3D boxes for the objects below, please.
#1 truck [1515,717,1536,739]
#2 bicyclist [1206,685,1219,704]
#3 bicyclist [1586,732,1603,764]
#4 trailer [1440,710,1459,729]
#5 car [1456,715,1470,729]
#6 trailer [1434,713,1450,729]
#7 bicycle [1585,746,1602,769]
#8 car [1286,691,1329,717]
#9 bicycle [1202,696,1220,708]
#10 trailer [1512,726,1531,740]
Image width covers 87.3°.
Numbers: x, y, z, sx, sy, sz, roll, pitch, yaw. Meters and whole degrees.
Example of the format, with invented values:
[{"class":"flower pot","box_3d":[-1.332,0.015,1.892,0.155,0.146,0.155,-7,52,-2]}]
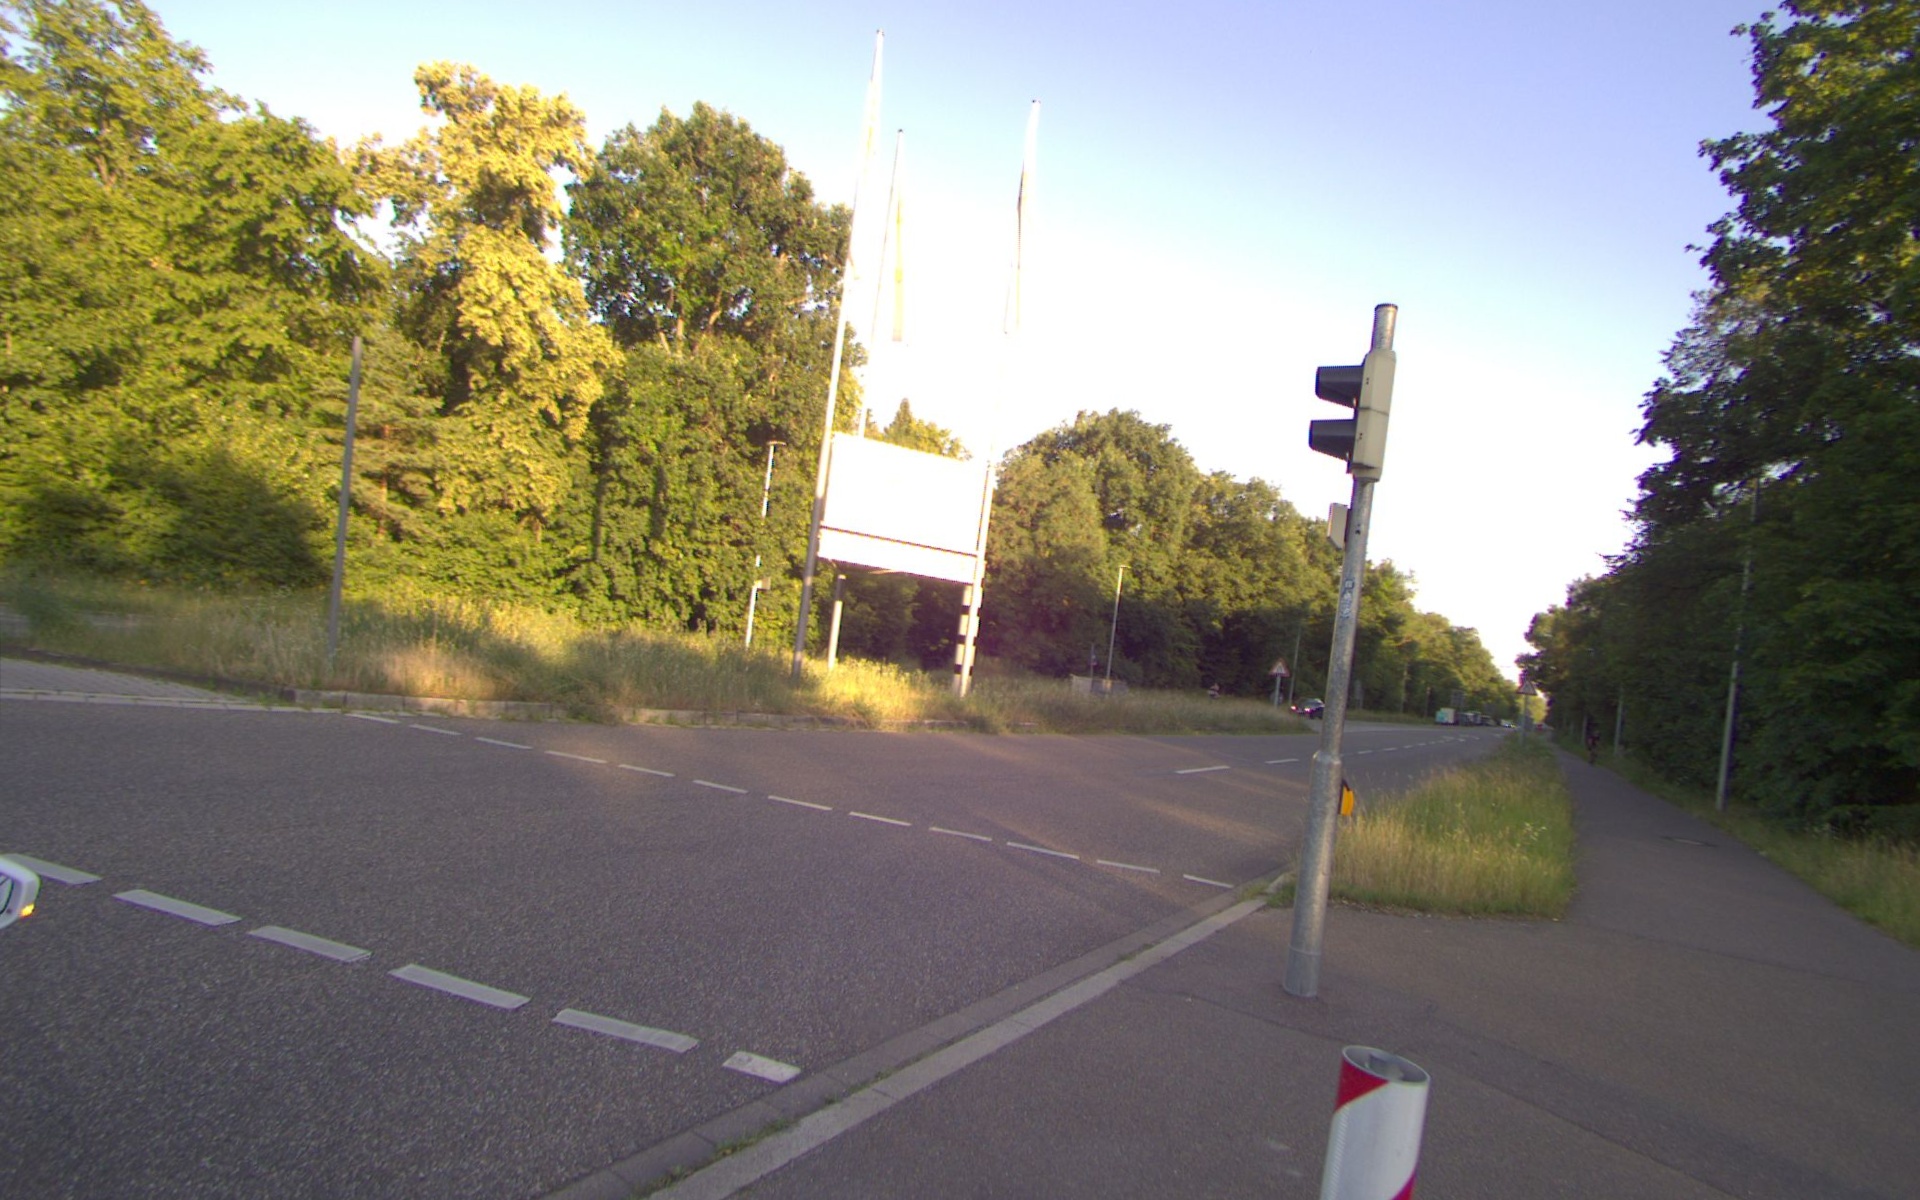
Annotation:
[{"class":"truck","box_3d":[99.468,22.555,176.872,2.555,3.291,7.213,8,-3,32]},{"class":"bicyclist","box_3d":[20.256,7.577,80.696,0.579,1.446,0.819,5,-3,40]},{"class":"bicyclist","box_3d":[31.907,7.430,50.593,0.595,1.471,0.779,6,-2,32]},{"class":"trailer","box_3d":[81.957,19.998,168.409,2.295,2.956,5.623,4,-4,30]},{"class":"car","box_3d":[95.467,23.252,190.877,1.967,2.390,5.761,3,-4,31]},{"class":"trailer","box_3d":[74.257,18.595,154.916,1.793,2.191,4.140,5,-3,30]},{"class":"bicycle","box_3d":[31.802,7.894,50.476,0.603,1.006,1.690,6,-4,32]},{"class":"car","box_3d":[25.504,7.661,73.750,1.797,1.550,4.447,4,-5,35]},{"class":"bicycle","box_3d":[20.085,8.153,80.555,0.579,0.813,1.952,5,-4,40]},{"class":"trailer","box_3d":[83.215,19.723,149.132,1.442,1.680,3.759,4,-4,44]}]
